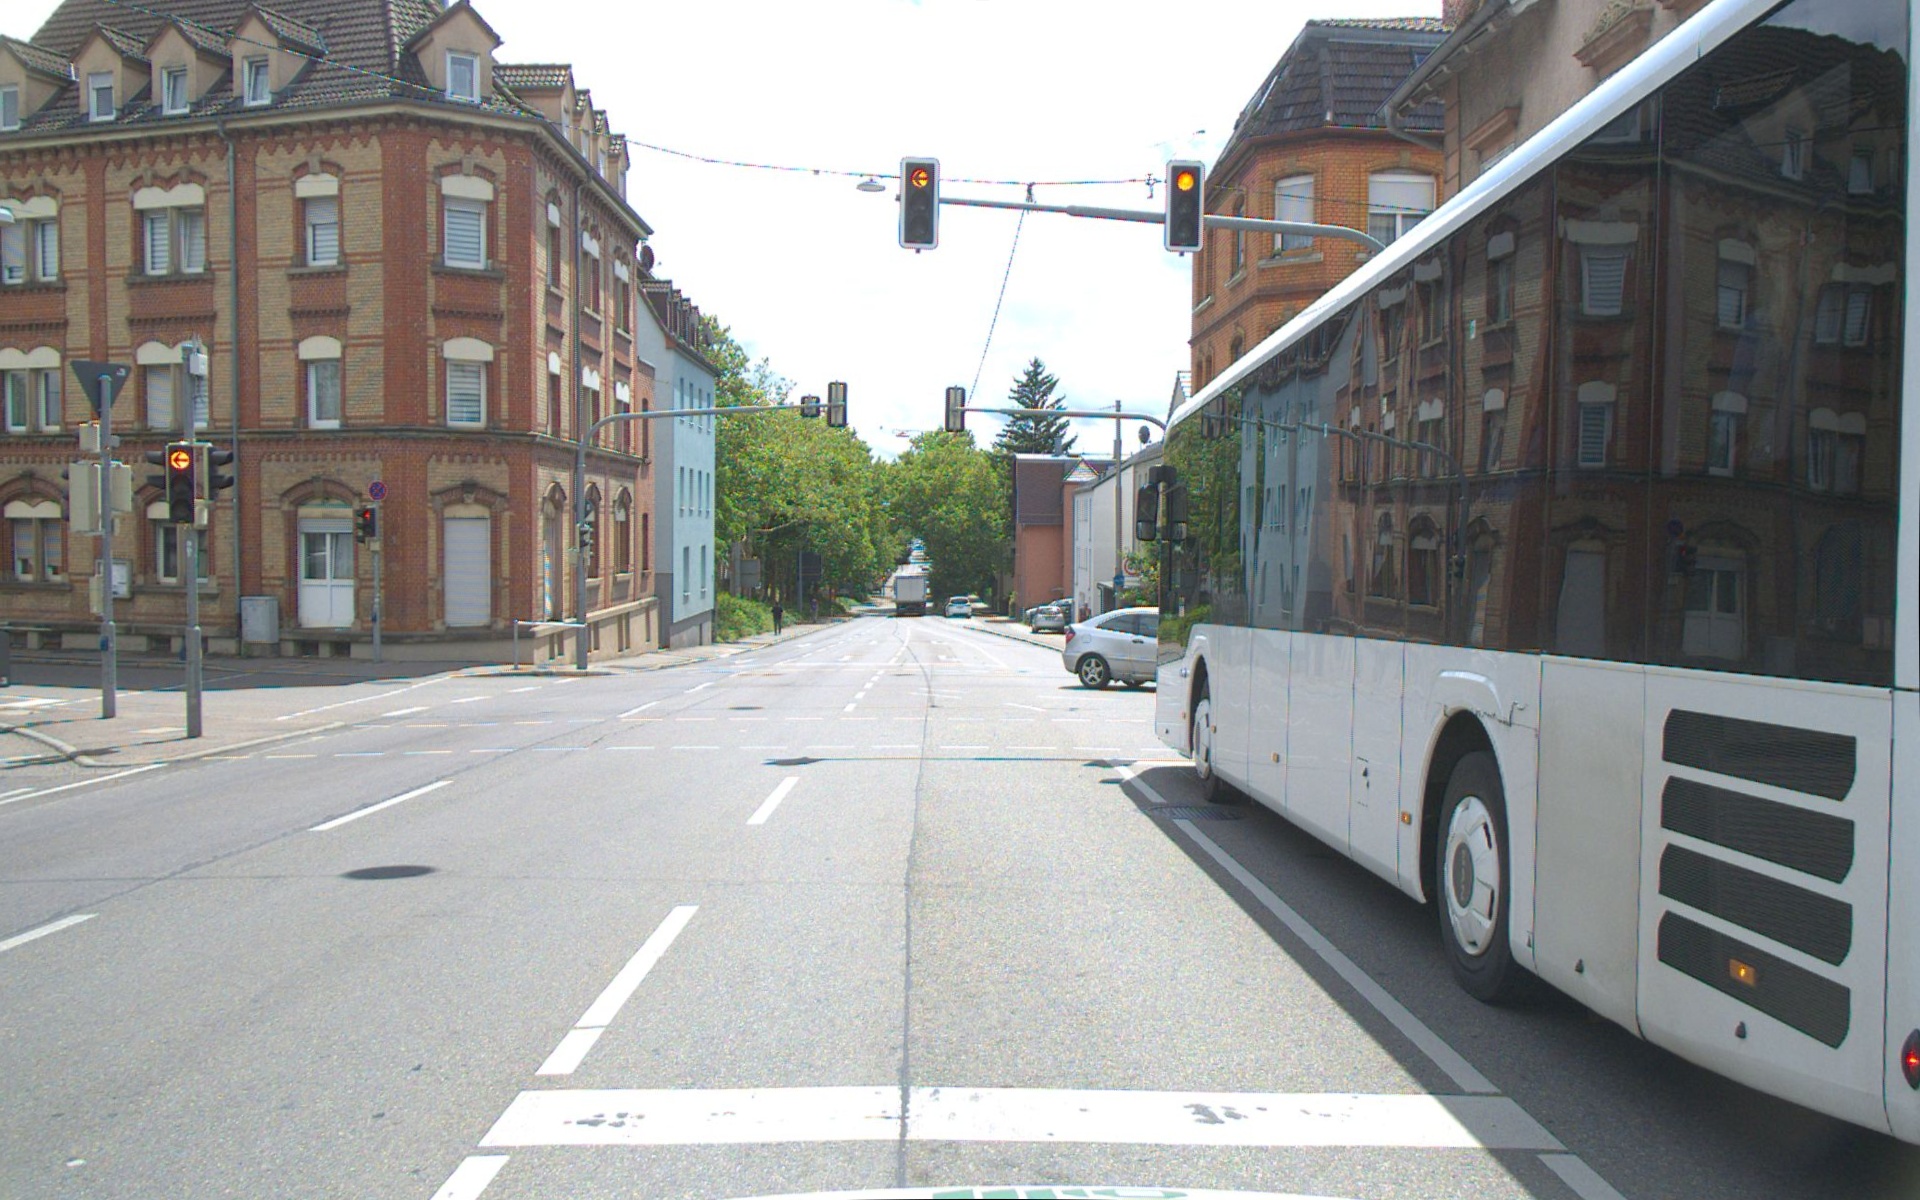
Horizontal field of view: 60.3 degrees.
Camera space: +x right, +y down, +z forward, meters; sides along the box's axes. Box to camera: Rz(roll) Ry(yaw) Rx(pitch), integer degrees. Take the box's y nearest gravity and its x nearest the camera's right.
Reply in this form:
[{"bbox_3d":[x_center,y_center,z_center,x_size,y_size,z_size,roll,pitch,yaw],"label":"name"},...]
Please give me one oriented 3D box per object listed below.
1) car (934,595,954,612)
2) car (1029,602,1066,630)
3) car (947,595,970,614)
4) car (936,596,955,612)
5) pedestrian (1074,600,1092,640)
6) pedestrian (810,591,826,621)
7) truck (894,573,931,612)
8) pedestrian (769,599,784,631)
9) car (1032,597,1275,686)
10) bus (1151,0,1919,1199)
[{"bbox_3d":[-1.409,0.287,145.803,1.757,1.434,4.418,1,0,0],"label":"car"},{"bbox_3d":[4.911,0.874,93.137,1.758,1.434,3.999,-1,1,-2],"label":"car"},{"bbox_3d":[-0.112,0.354,129.616,1.758,1.434,3.999,1,0,-1],"label":"car"},{"bbox_3d":[-1.340,0.391,153.910,1.757,1.434,4.418,1,0,0],"label":"car"},{"bbox_3d":[5.436,0.879,72.919,0.723,1.781,0.619,-1,0,-1],"label":"pedestrian"},{"bbox_3d":[-9.633,0.404,112.510,0.974,2.049,1.188,0,0,-1],"label":"pedestrian"},{"bbox_3d":[-3.998,-0.642,138.802,2.868,3.135,7.881,-1,0,-3],"label":"truck"},{"bbox_3d":[-9.391,0.760,84.434,0.714,1.592,0.560,0,0,-2],"label":"pedestrian"},{"bbox_3d":[3.351,0.688,28.981,3.920,1.452,1.698,0,0,36],"label":"car"},{"bbox_3d":[3.202,-0.099,9.314,2.618,3.211,12.460,1,0,-1],"label":"bus"}]
